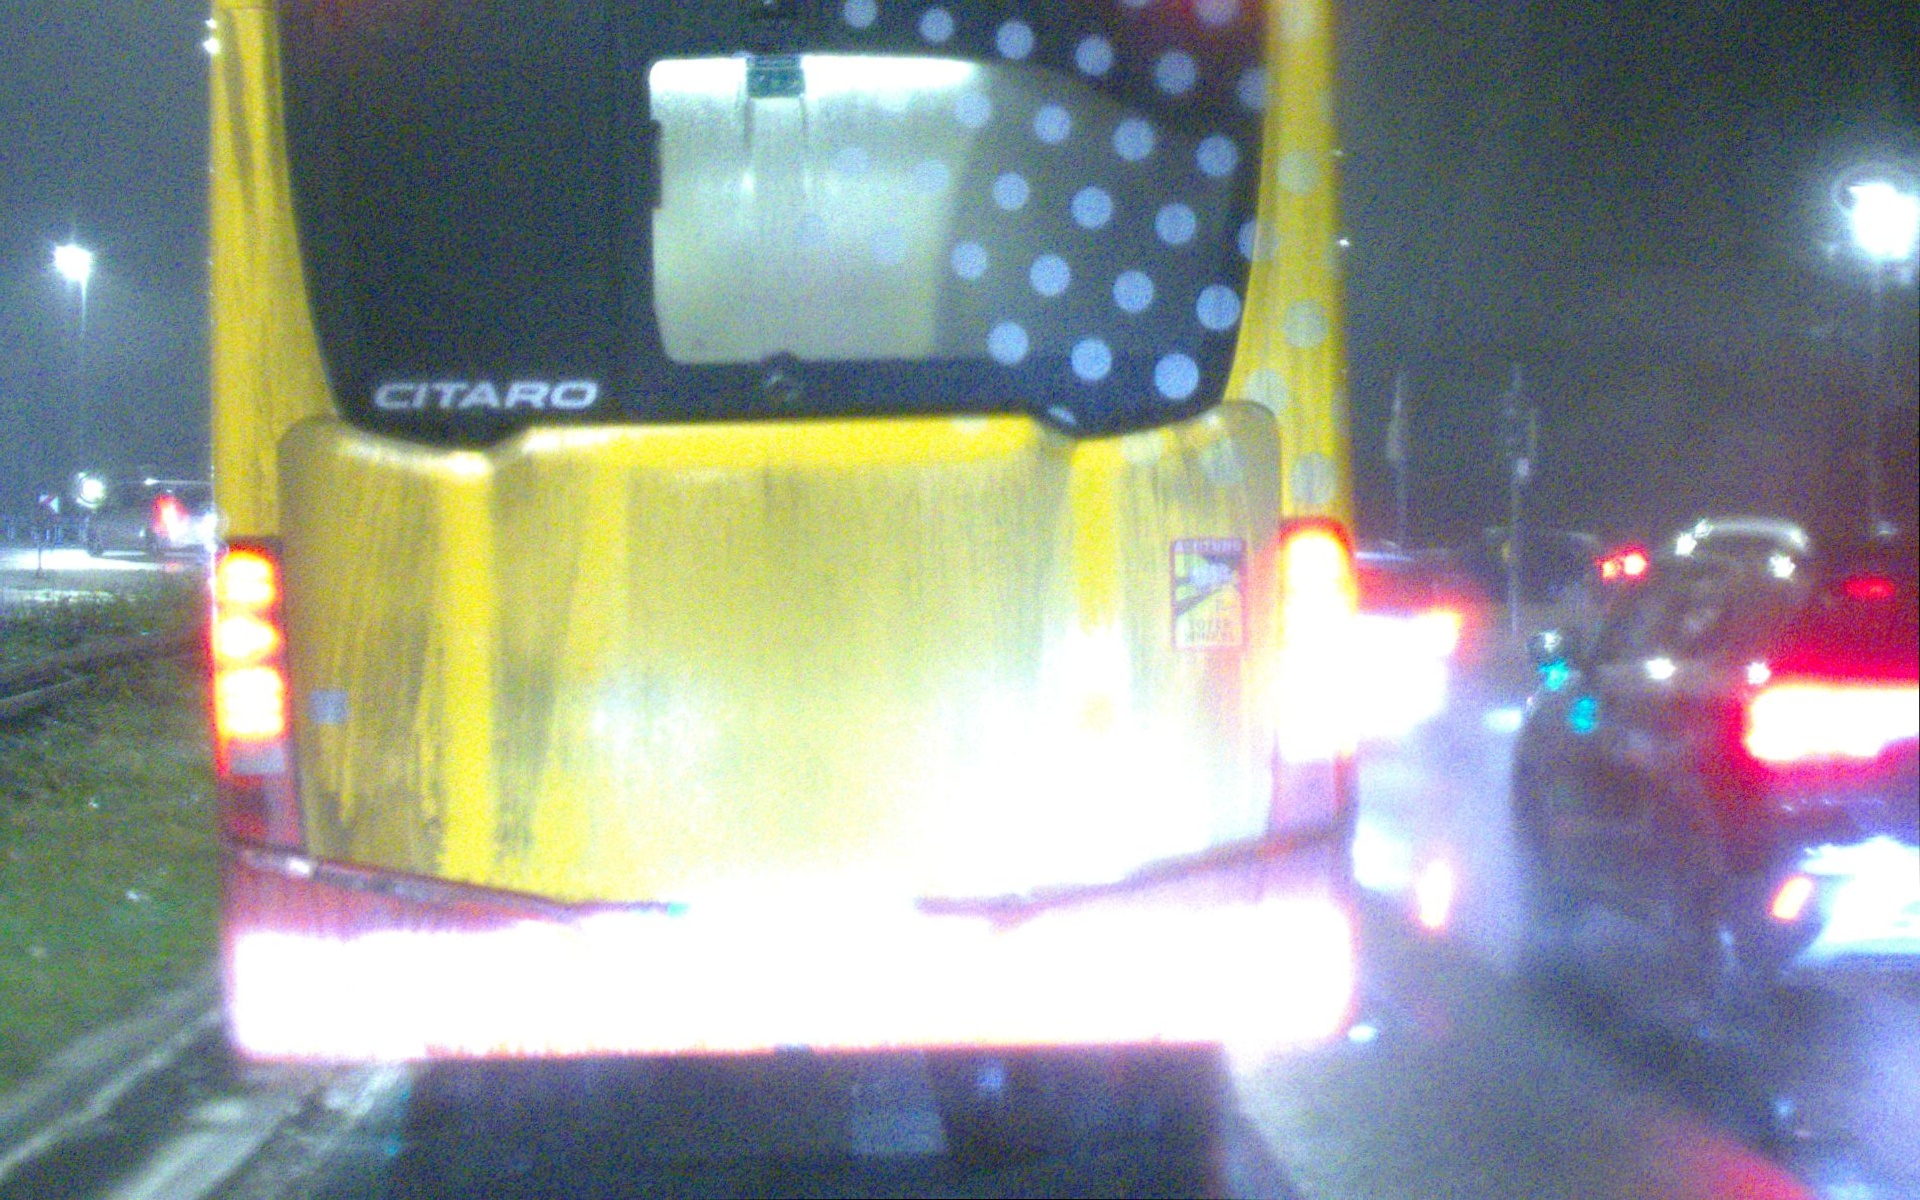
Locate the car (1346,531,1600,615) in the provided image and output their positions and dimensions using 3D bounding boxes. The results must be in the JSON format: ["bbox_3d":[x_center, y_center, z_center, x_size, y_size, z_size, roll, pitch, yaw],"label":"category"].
[{"bbox_3d":[8.970,-0.479,60.246,4.041,1.341,1.748,1,2,-7],"label":"car"}]

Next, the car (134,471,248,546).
[{"bbox_3d":[-18.634,-2.189,83.191,1.993,1.715,4.001,1,0,-23],"label":"car"}]

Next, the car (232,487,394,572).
[{"bbox_3d":[-13.124,-1.412,69.600,2.089,1.638,3.730,1,0,-30],"label":"car"}]

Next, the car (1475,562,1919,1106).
[{"bbox_3d":[2.969,0.650,11.617,1.677,1.516,3.961,1,0,-3],"label":"car"}]

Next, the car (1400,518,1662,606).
[{"bbox_3d":[10.703,-0.716,64.587,4.482,1.513,1.857,1,2,-7],"label":"car"}]

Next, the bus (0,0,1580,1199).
[{"bbox_3d":[-0.722,-0.351,11.822,3.284,3.039,9.546,-1,2,-5],"label":"bus"}]

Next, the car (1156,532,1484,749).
[{"bbox_3d":[2.479,0.229,24.588,1.686,1.326,3.961,2,2,-3],"label":"car"}]
